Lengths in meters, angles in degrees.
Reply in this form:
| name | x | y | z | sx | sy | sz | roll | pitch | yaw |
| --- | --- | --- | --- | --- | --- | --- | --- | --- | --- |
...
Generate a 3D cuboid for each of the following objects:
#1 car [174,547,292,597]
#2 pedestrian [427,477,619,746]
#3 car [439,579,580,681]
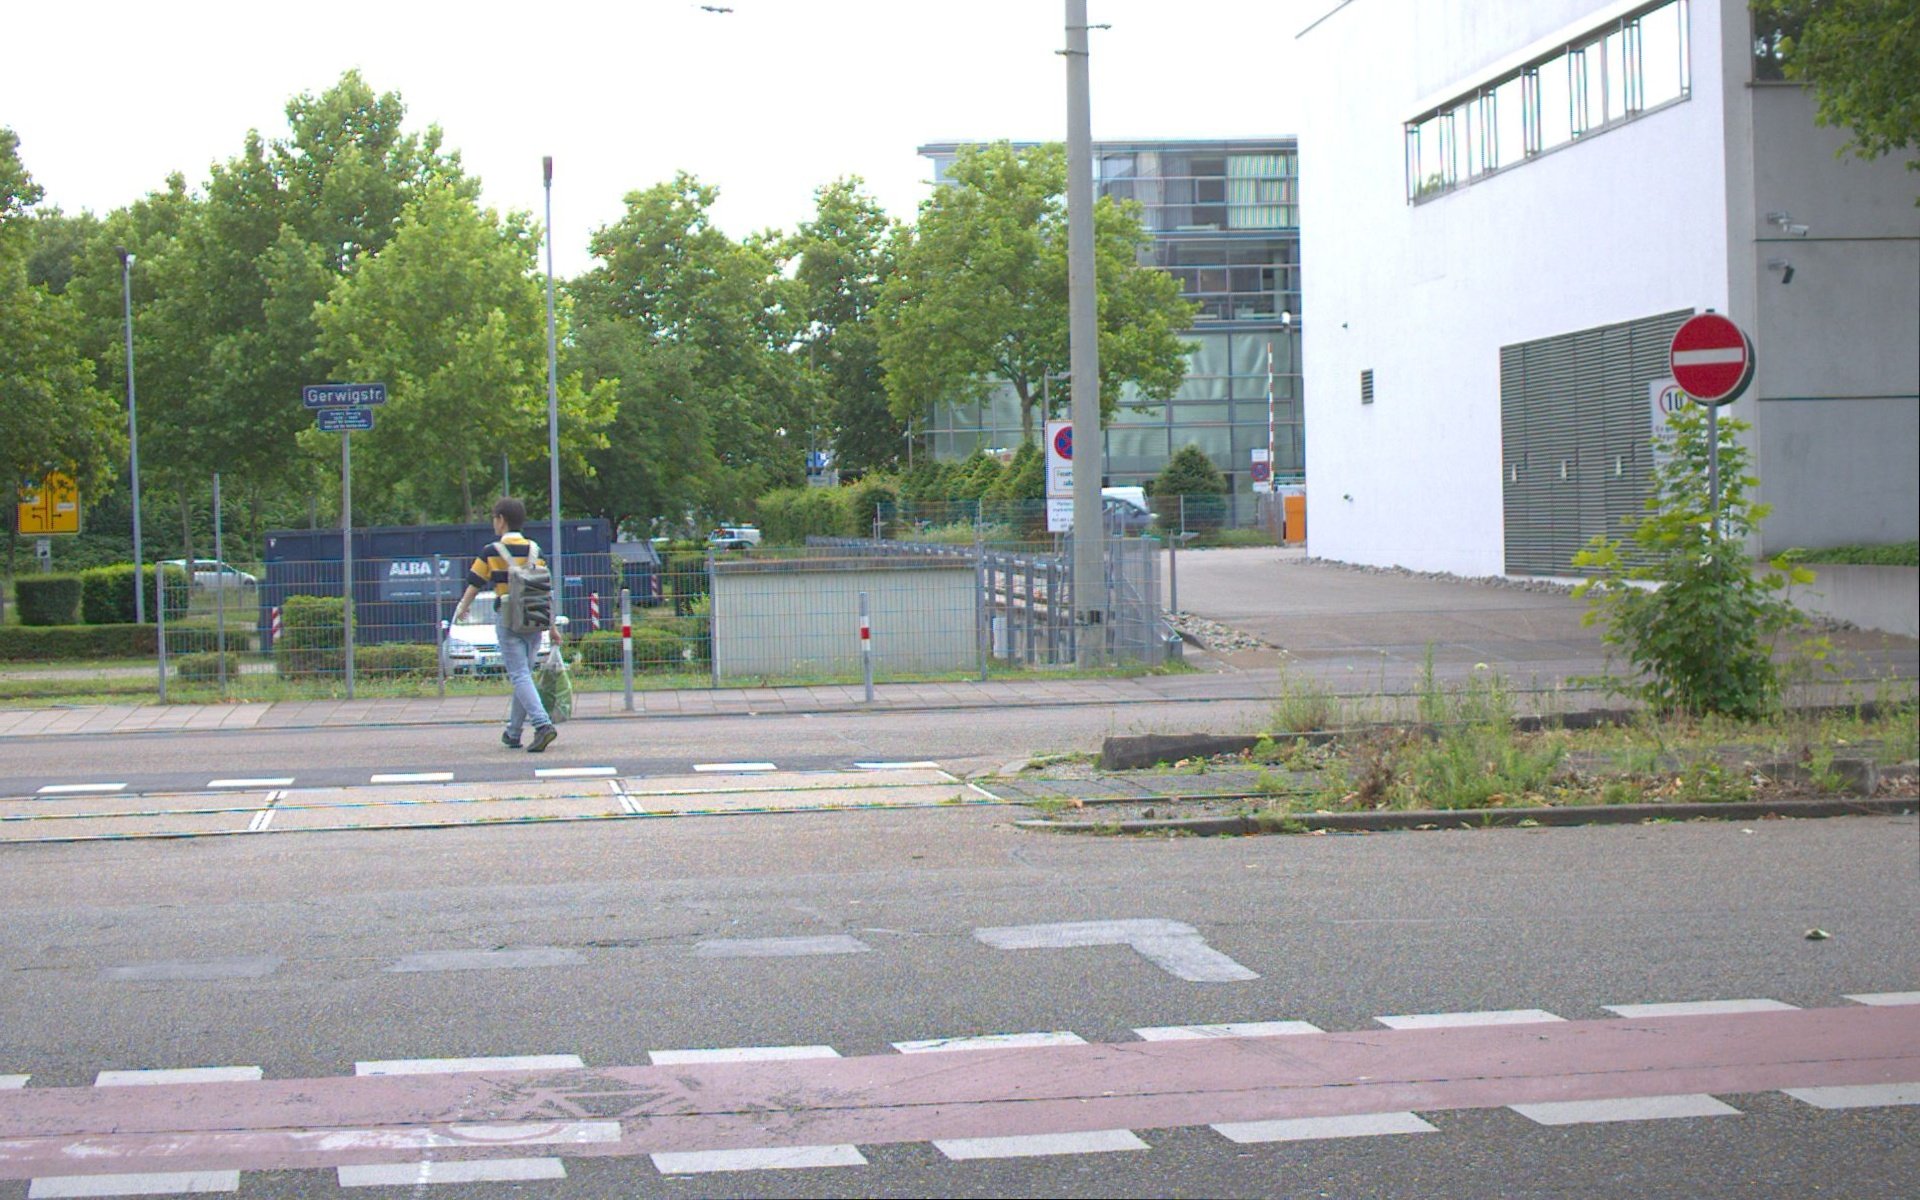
| name | x | y | z | sx | sy | sz | roll | pitch | yaw |
| --- | --- | --- | --- | --- | --- | --- | --- | --- | --- |
| car | -26.600 | -1.042 | 125.924 | 1.917 | 1.715 | 4.294 | -1 | 1 | 27 |
| pedestrian | -3.119 | 0.065 | 24.460 | 1.000 | 1.843 | 1.229 | -2 | 1 | -24 |
| car | -6.816 | 0.426 | 52.331 | 1.931 | 1.398 | 4.082 | -2 | 1 | -5 |
